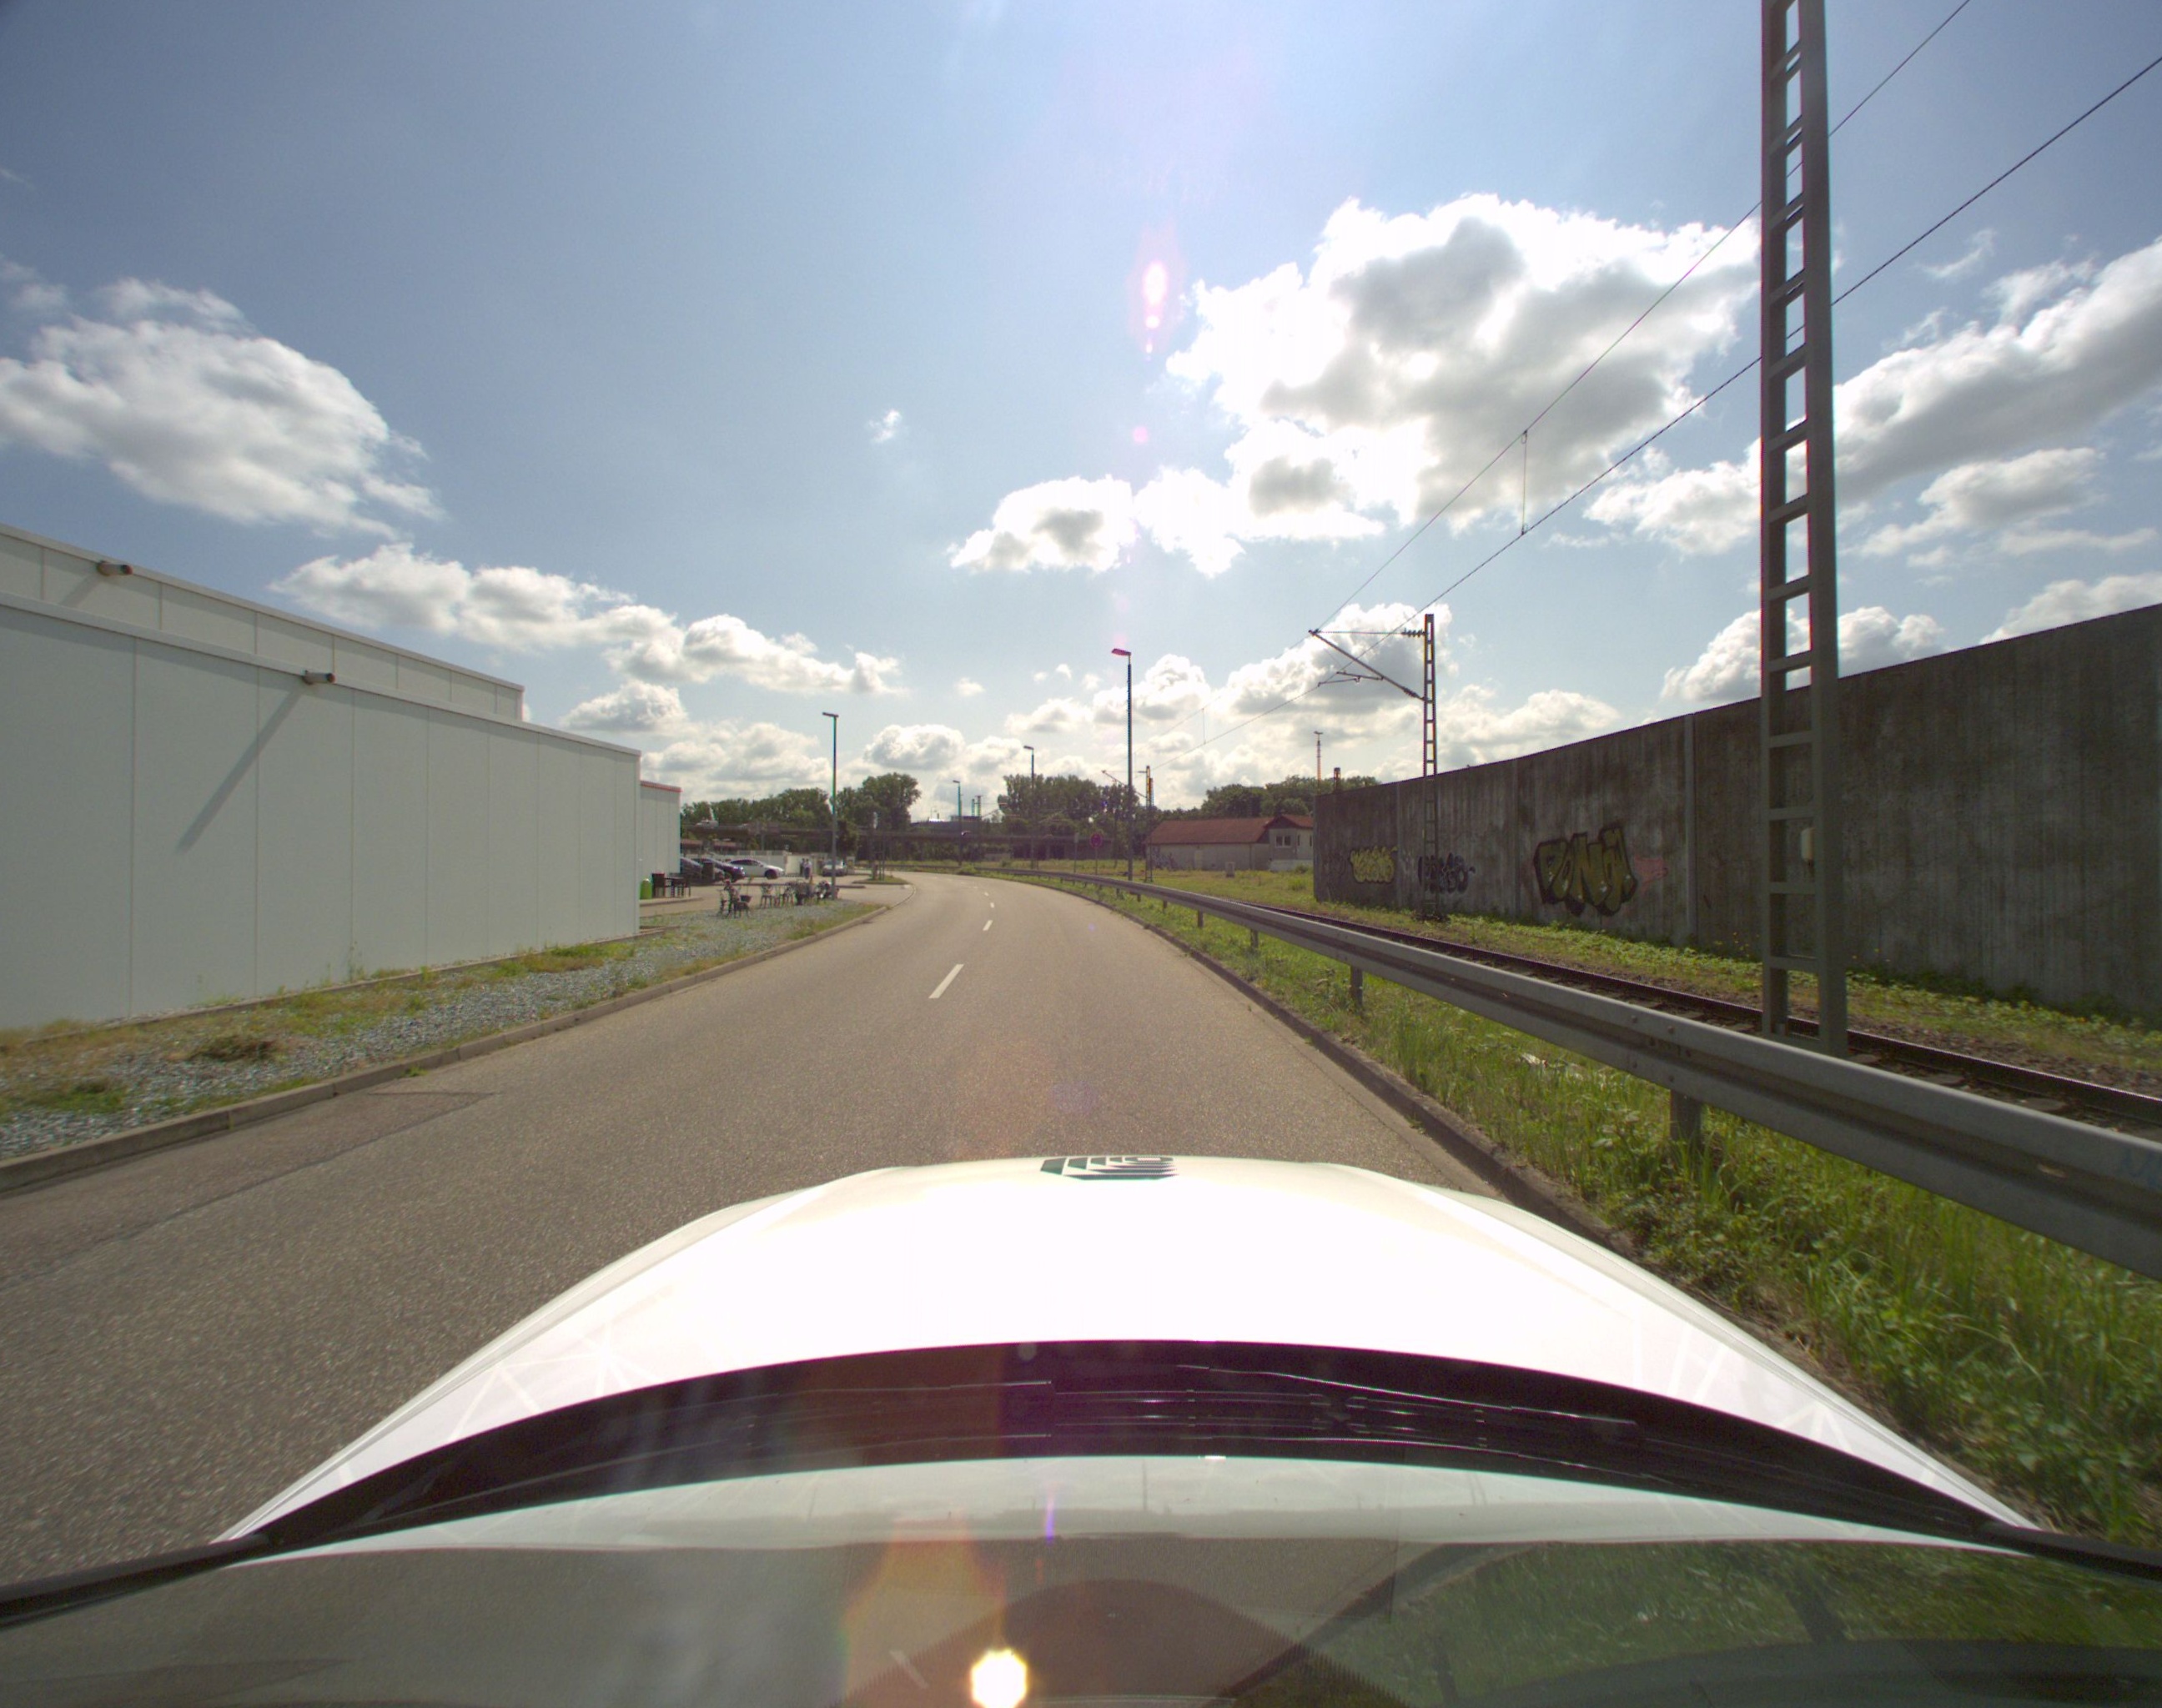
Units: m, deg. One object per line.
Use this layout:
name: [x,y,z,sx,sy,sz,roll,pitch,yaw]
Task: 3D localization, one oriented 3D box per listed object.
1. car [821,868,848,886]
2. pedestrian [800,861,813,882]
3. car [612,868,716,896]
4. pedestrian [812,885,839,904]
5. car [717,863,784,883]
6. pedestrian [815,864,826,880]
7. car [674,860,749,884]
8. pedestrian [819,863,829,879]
car: [-23.223,2.128,76.880,1.931,1.518,4.758,1,1,-11]
pedestrian: [-21.404,1.368,63.463,0.863,1.653,0.936,0,-1,-14]
car: [-23.356,1.556,45.825,4.751,1.456,2.227,0,-1,-14]
pedestrian: [-10.229,1.622,32.623,0.860,0.760,0.817,1,-2,-3]
car: [-25.809,1.461,63.810,4.557,1.524,1.991,0,-1,-14]
pedestrian: [-25.740,1.741,80.507,0.749,1.565,0.718,-2,-1,35]
car: [-23.726,1.147,52.394,3.990,1.519,1.992,0,-1,-12]
pedestrian: [-25.222,1.684,79.926,0.704,1.579,0.726,-1,-1,27]
